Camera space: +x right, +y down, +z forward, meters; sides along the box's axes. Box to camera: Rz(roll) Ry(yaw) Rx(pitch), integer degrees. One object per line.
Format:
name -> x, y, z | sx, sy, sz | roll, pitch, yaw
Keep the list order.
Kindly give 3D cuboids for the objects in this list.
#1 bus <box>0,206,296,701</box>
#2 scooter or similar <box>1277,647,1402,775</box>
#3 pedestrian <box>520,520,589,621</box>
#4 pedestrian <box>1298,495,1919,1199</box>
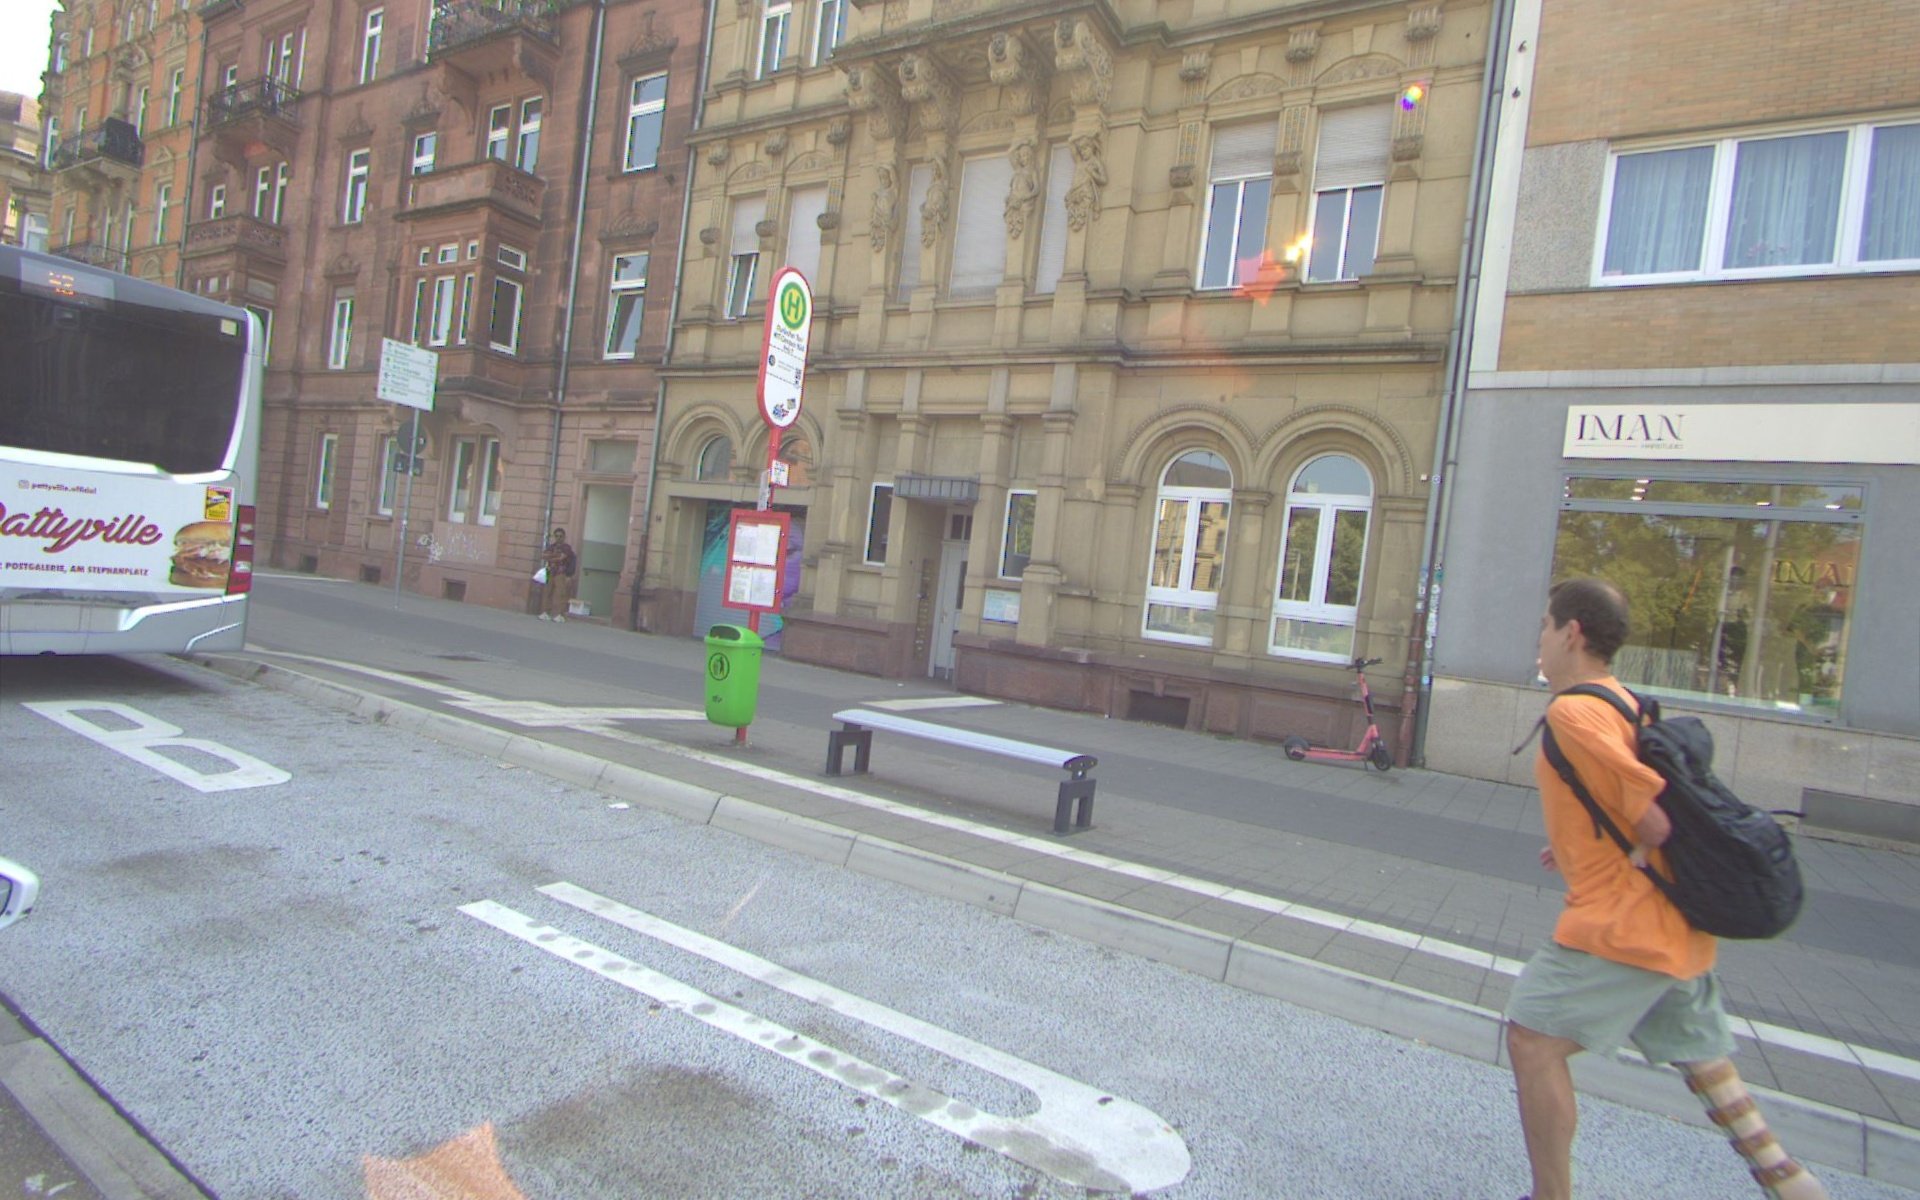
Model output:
bus -> -10.891, -1.470, 9.902 | 11.761, 3.149, 2.742 | 7, 3, 33
scooter or similar -> 4.203, 1.204, 11.153 | 1.122, 1.228, 0.476 | 7, 1, 27
pedestrian -> -7.734, -0.546, 19.212 | 0.729, 1.800, 0.870 | 7, 1, 4
pedestrian -> 1.680, 0.710, 2.357 | 1.223, 1.763, 0.961 | 8, 2, 45
